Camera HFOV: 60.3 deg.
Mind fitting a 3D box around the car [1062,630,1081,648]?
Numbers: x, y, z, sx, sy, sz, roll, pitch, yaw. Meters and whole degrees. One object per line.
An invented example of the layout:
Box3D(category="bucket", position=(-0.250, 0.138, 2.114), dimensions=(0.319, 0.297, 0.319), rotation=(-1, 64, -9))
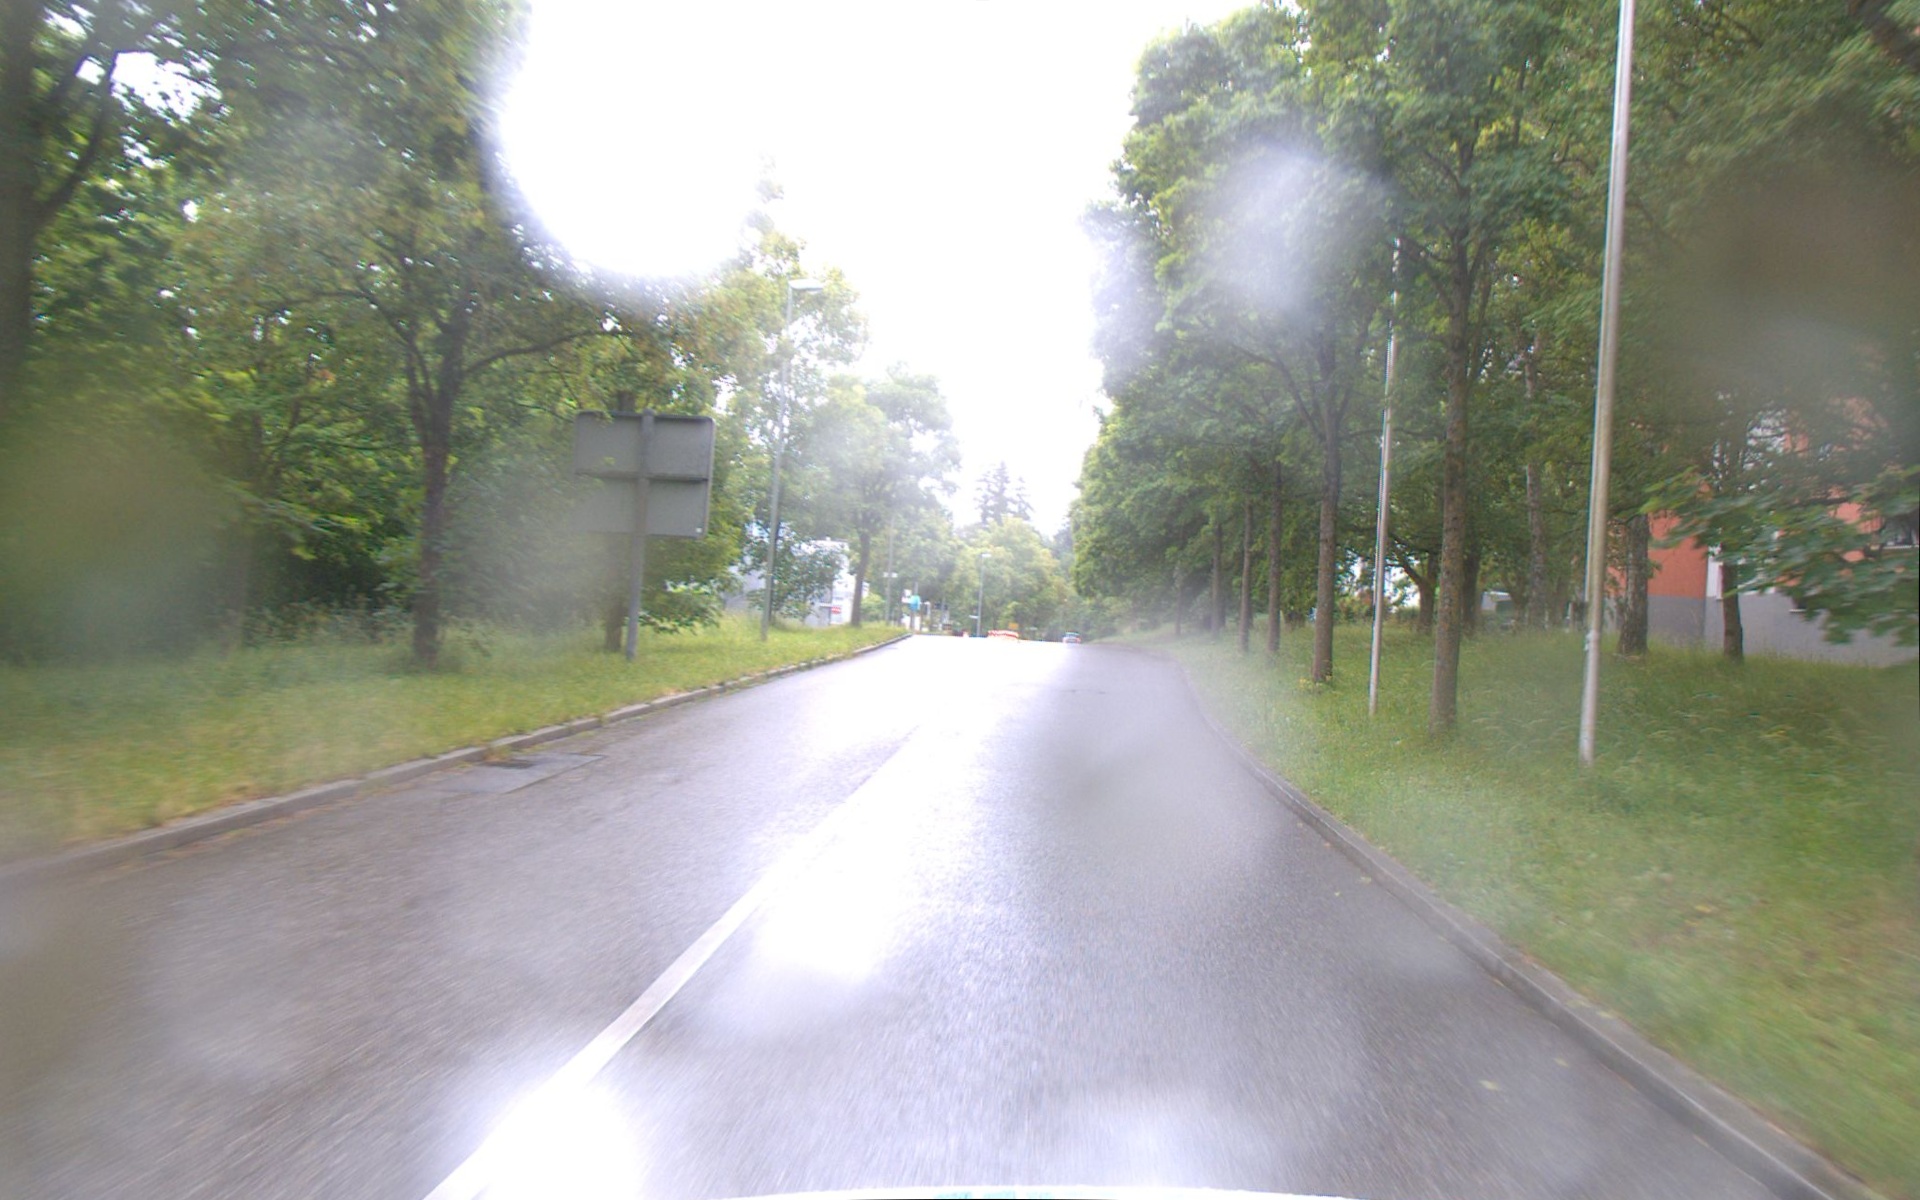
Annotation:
Box3D(category="car", position=(10.216, 3.571, 151.506), dimensions=(1.700, 1.537, 4.001), rotation=(1, -2, 5))
